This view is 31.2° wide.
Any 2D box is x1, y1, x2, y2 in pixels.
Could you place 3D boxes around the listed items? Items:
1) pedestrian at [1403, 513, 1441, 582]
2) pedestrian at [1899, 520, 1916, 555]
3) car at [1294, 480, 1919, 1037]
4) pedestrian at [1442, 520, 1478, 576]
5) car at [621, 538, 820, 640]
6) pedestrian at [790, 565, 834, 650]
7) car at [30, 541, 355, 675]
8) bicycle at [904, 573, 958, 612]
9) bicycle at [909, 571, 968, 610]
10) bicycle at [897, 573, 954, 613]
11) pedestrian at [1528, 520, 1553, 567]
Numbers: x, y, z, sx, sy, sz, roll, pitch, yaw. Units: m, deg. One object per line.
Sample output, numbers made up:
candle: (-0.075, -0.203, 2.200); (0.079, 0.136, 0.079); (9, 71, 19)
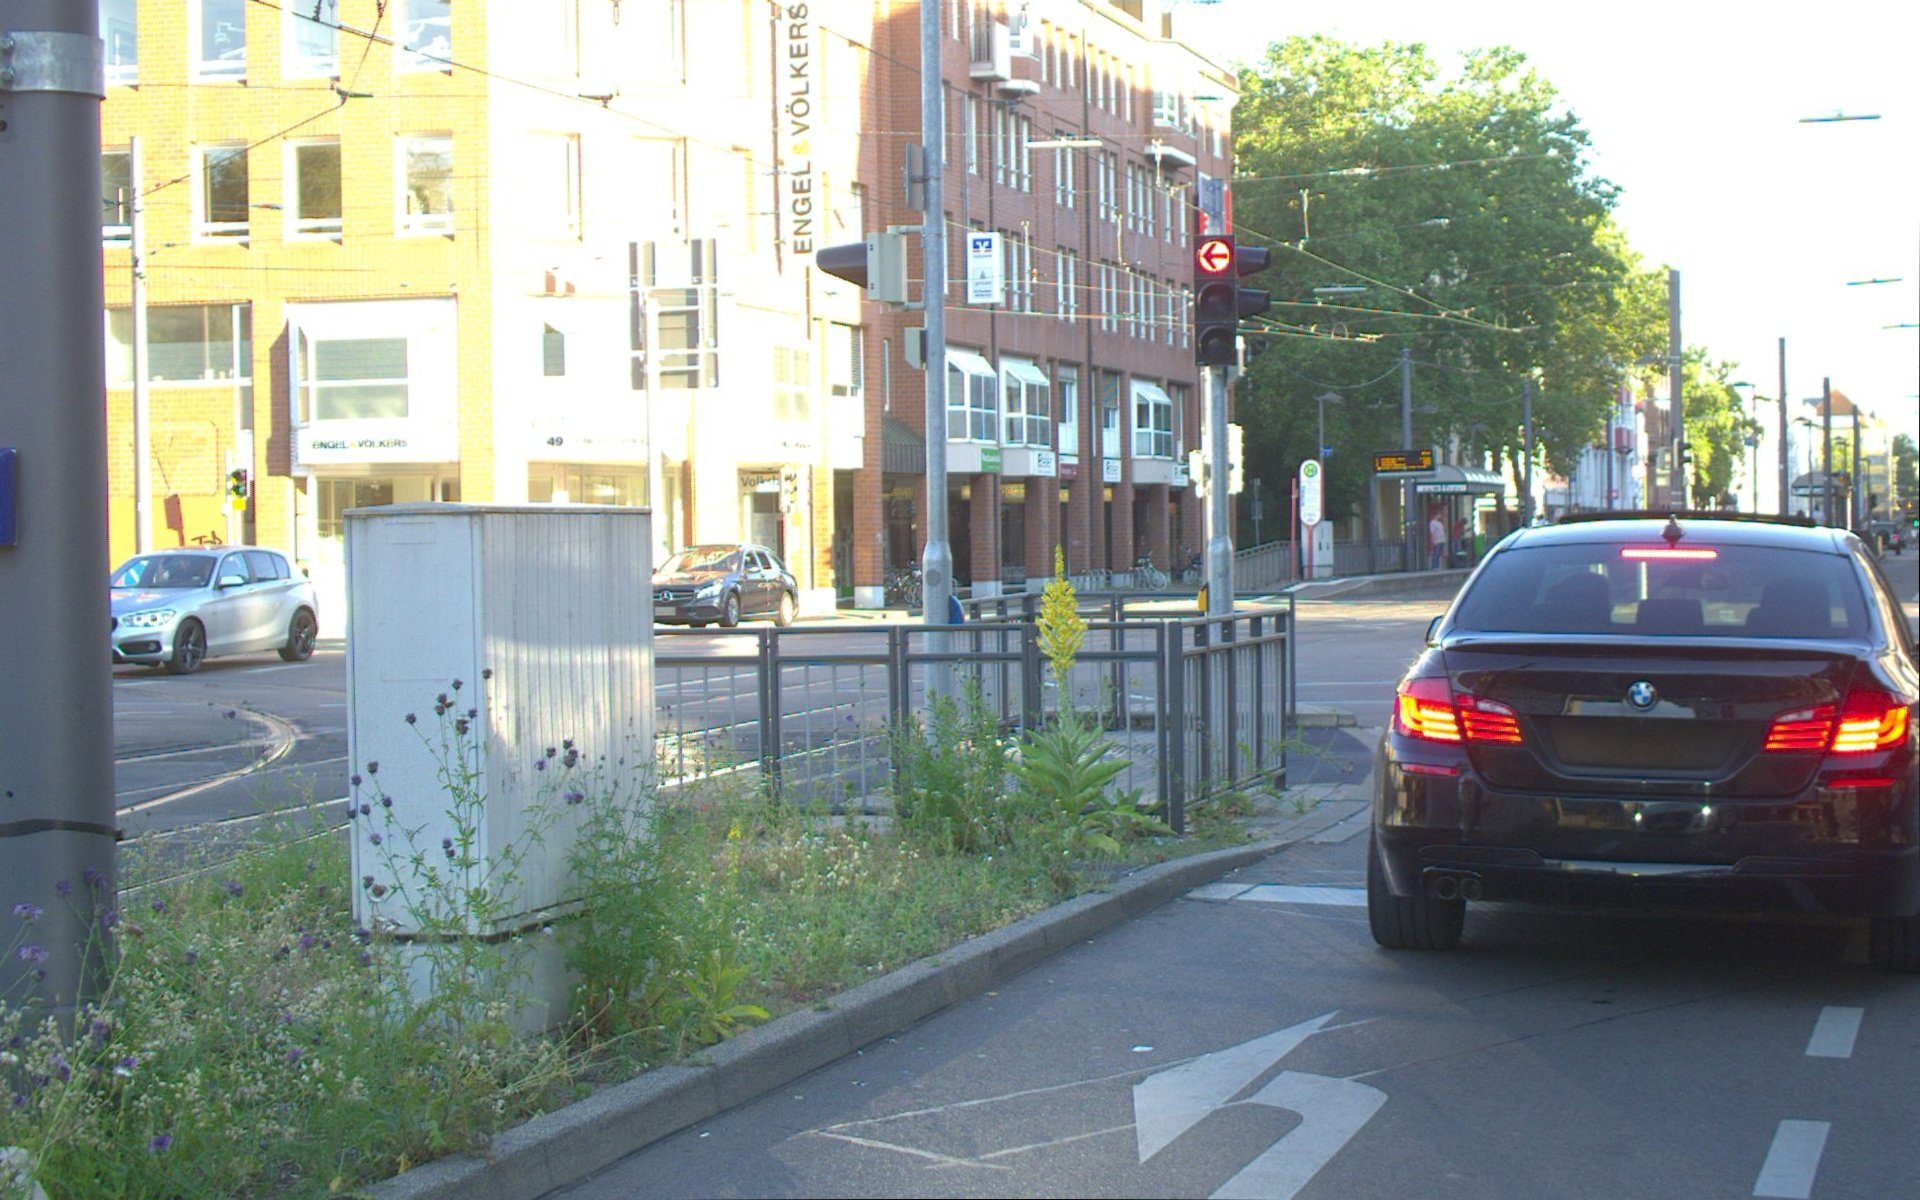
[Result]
pedestrian: (13.482, -1.537, 100.384); (0.988, 2.007, 0.725); (1, 1, 16)
pedestrian: (53.719, -3.540, 194.929); (0.915, 2.007, 0.886); (-1, 1, 16)
car: (2.619, 0.402, 12.103); (1.995, 1.579, 3.997); (2, 2, 19)
pedestrian: (15.337, -1.597, 105.455); (0.988, 1.675, 0.725); (-1, 1, 16)
car: (-3.978, -0.208, 57.831); (1.995, 1.579, 4.476); (-1, 1, 15)
pedestrian: (-3.260, 0.161, 75.756); (0.633, 1.861, 0.677); (2, 2, 43)
car: (-8.879, 0.063, 40.147); (1.671, 1.443, 4.198); (-1, 1, 20)
bicycle: (-0.689, -0.179, 82.115); (1.286, 0.919, 0.349); (1, 2, 1)
bicycle: (-0.528, -0.242, 83.595); (1.413, 0.919, 0.444); (1, 2, 1)
bicycle: (-0.822, -0.167, 81.556); (1.286, 0.919, 0.349); (1, 2, 14)
pedestrian: (20.955, -2.038, 124.031); (0.724, 1.675, 0.990); (-1, 1, 19)
